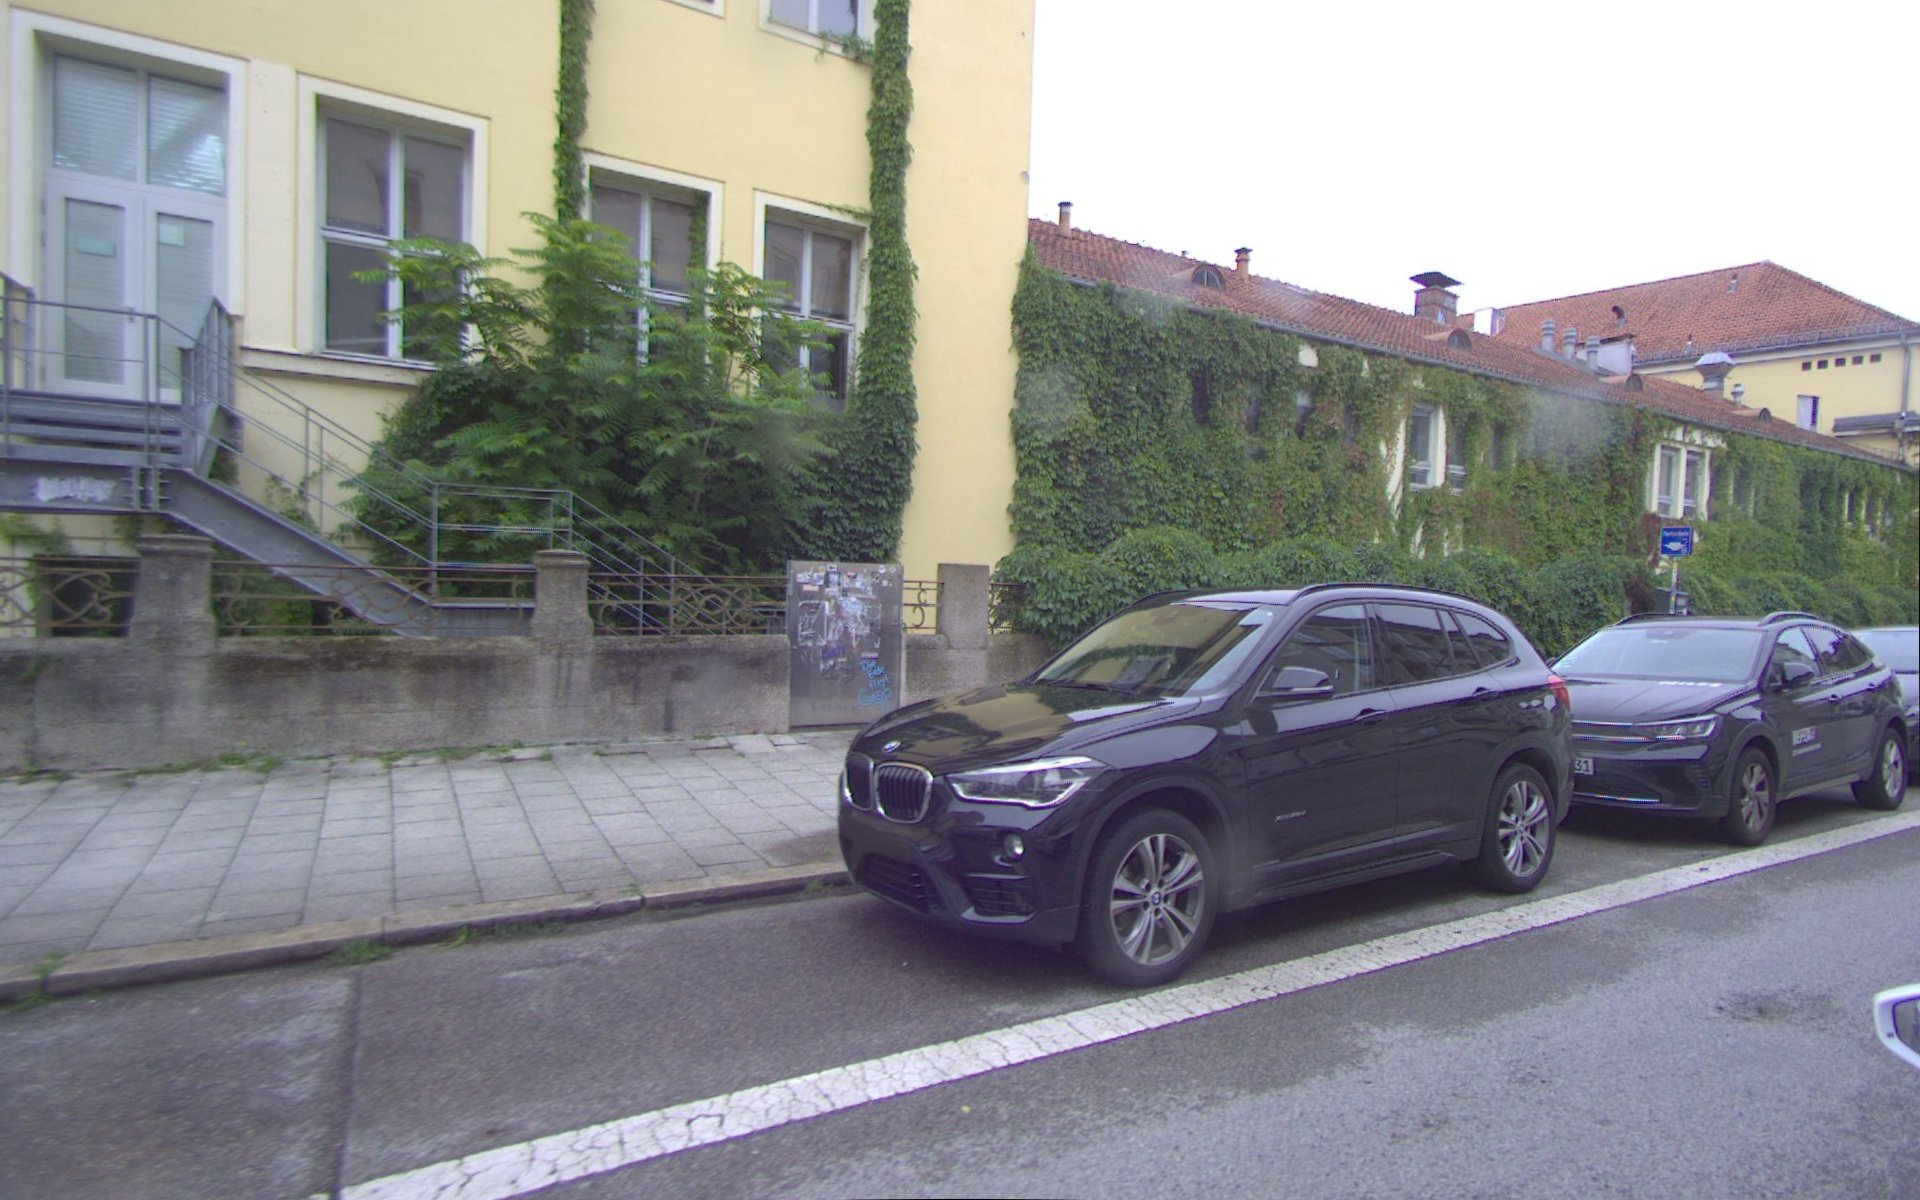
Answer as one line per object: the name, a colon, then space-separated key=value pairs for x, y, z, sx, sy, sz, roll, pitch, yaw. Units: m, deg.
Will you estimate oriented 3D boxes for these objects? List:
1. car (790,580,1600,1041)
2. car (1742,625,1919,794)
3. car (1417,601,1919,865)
car: x=1.379 y=0.768 z=5.284 sx=4.149 sy=1.558 sz=1.772 roll=1 pitch=-2 yaw=-33
car: x=9.750 y=0.998 z=10.271 sx=3.861 sy=1.475 sz=1.570 roll=1 pitch=-2 yaw=-33
car: x=5.586 y=0.833 z=7.798 sx=4.103 sy=1.558 sz=1.772 roll=1 pitch=-2 yaw=-33
